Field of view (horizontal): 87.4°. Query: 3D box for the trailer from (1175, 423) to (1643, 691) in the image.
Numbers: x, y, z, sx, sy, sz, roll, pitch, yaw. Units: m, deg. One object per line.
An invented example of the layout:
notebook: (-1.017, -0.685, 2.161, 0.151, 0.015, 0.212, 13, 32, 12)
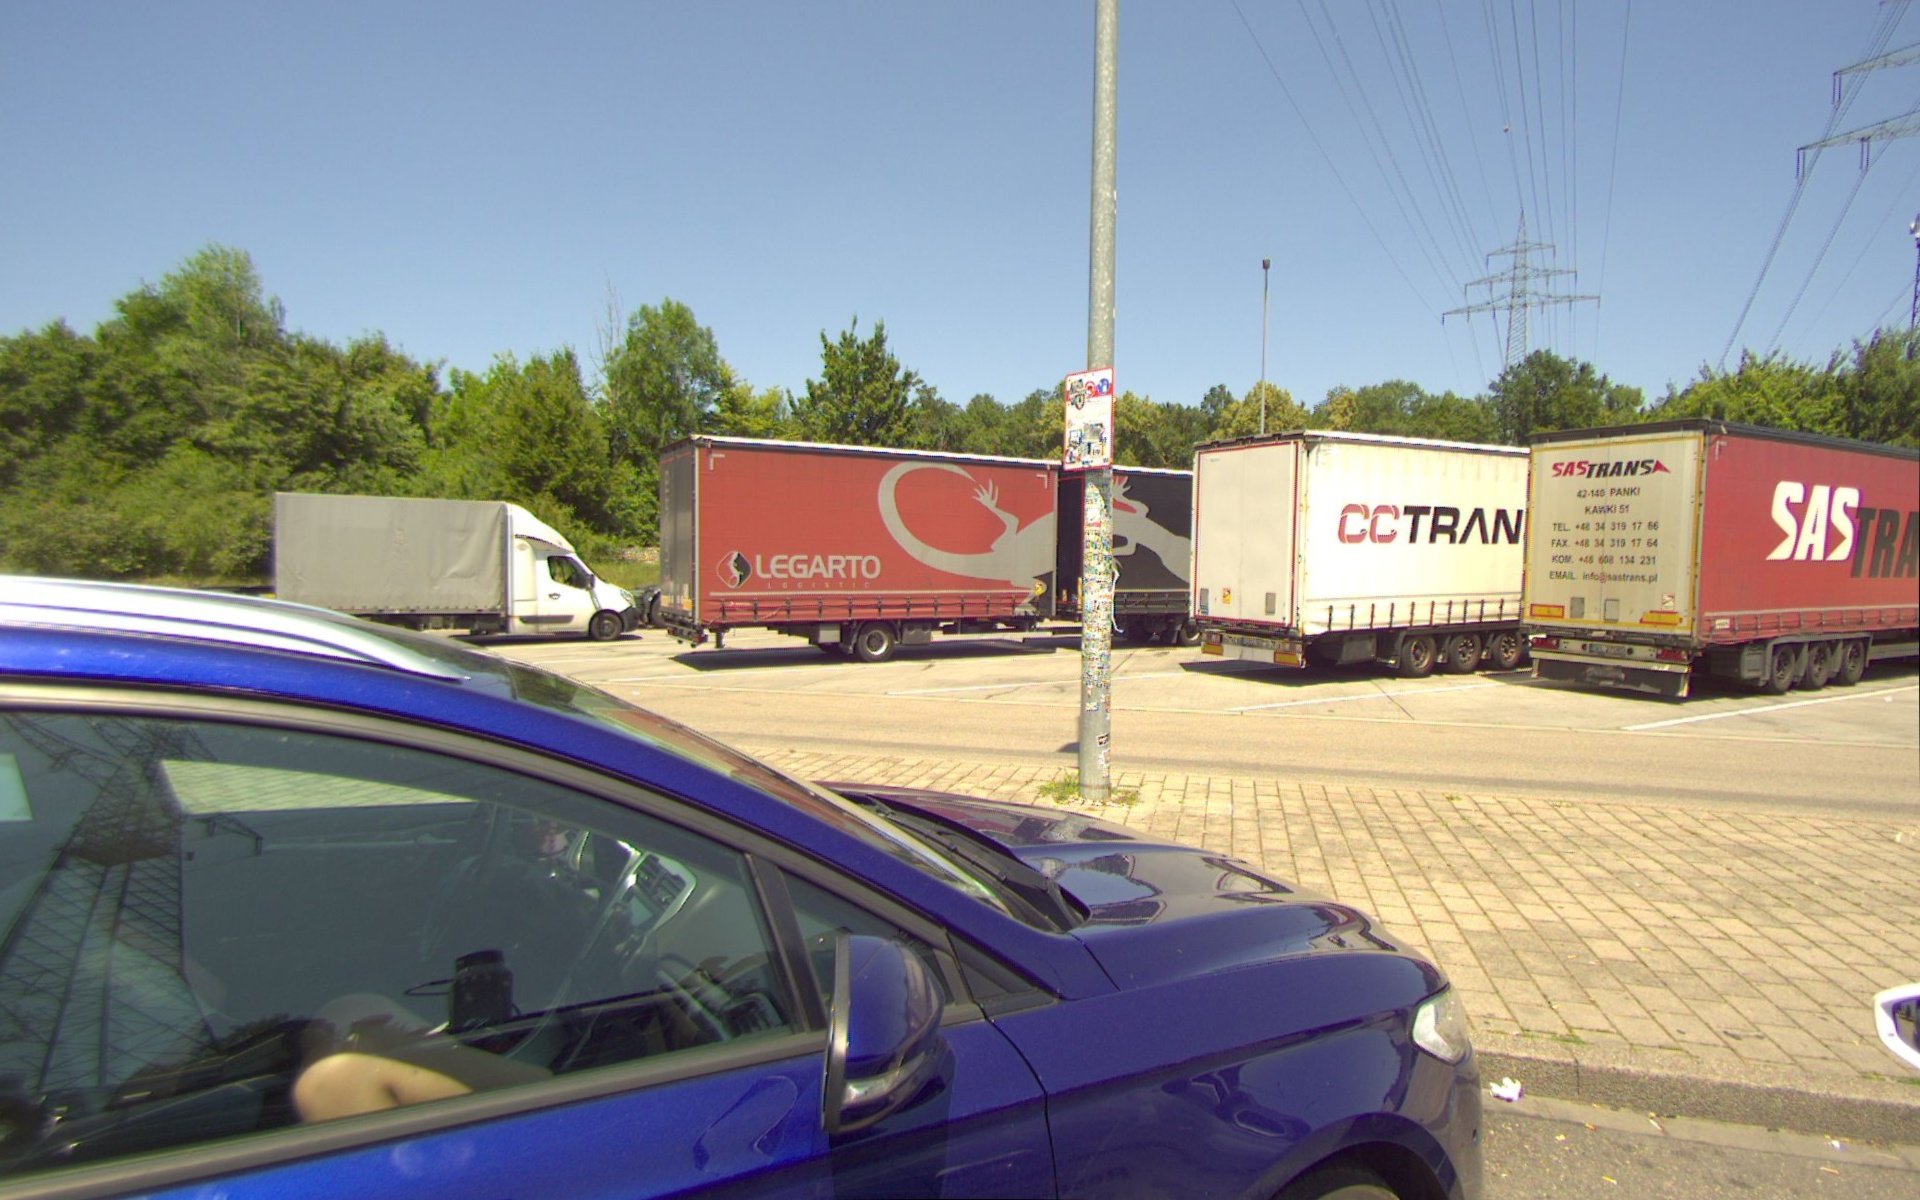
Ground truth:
trailer: (8.961, -0.767, 19.338, 10.264, 4.158, 2.693, -1, 3, -30)

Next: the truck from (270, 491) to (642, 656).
truck: (-11.250, -0.618, 22.990, 7.187, 3.289, 2.694, -1, 3, -29)

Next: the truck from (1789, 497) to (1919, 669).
truck: (21.247, -0.401, 22.039, 5.903, 3.409, 2.798, -1, 3, -30)

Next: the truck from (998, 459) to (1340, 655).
truck: (5.260, -0.995, 24.533, 8.585, 4.127, 2.693, -1, 3, -30)

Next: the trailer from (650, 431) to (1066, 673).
trailer: (-1.893, -0.900, 20.325, 8.007, 4.127, 2.693, -1, 3, -30)

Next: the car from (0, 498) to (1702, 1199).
car: (-0.986, 0.654, 1.446, 4.522, 1.491, 1.743, 0, 2, -32)

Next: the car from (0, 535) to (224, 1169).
car: (-4.428, 0.581, 2.084, 4.522, 1.526, 1.743, 0, 2, -32)

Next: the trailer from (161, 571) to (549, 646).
trailer: (-14.761, 0.109, 25.230, 8.007, 1.648, 2.199, -1, 3, -30)

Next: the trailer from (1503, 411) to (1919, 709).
trailer: (15.454, -0.674, 18.603, 13.599, 4.127, 2.807, -1, 3, -31)
